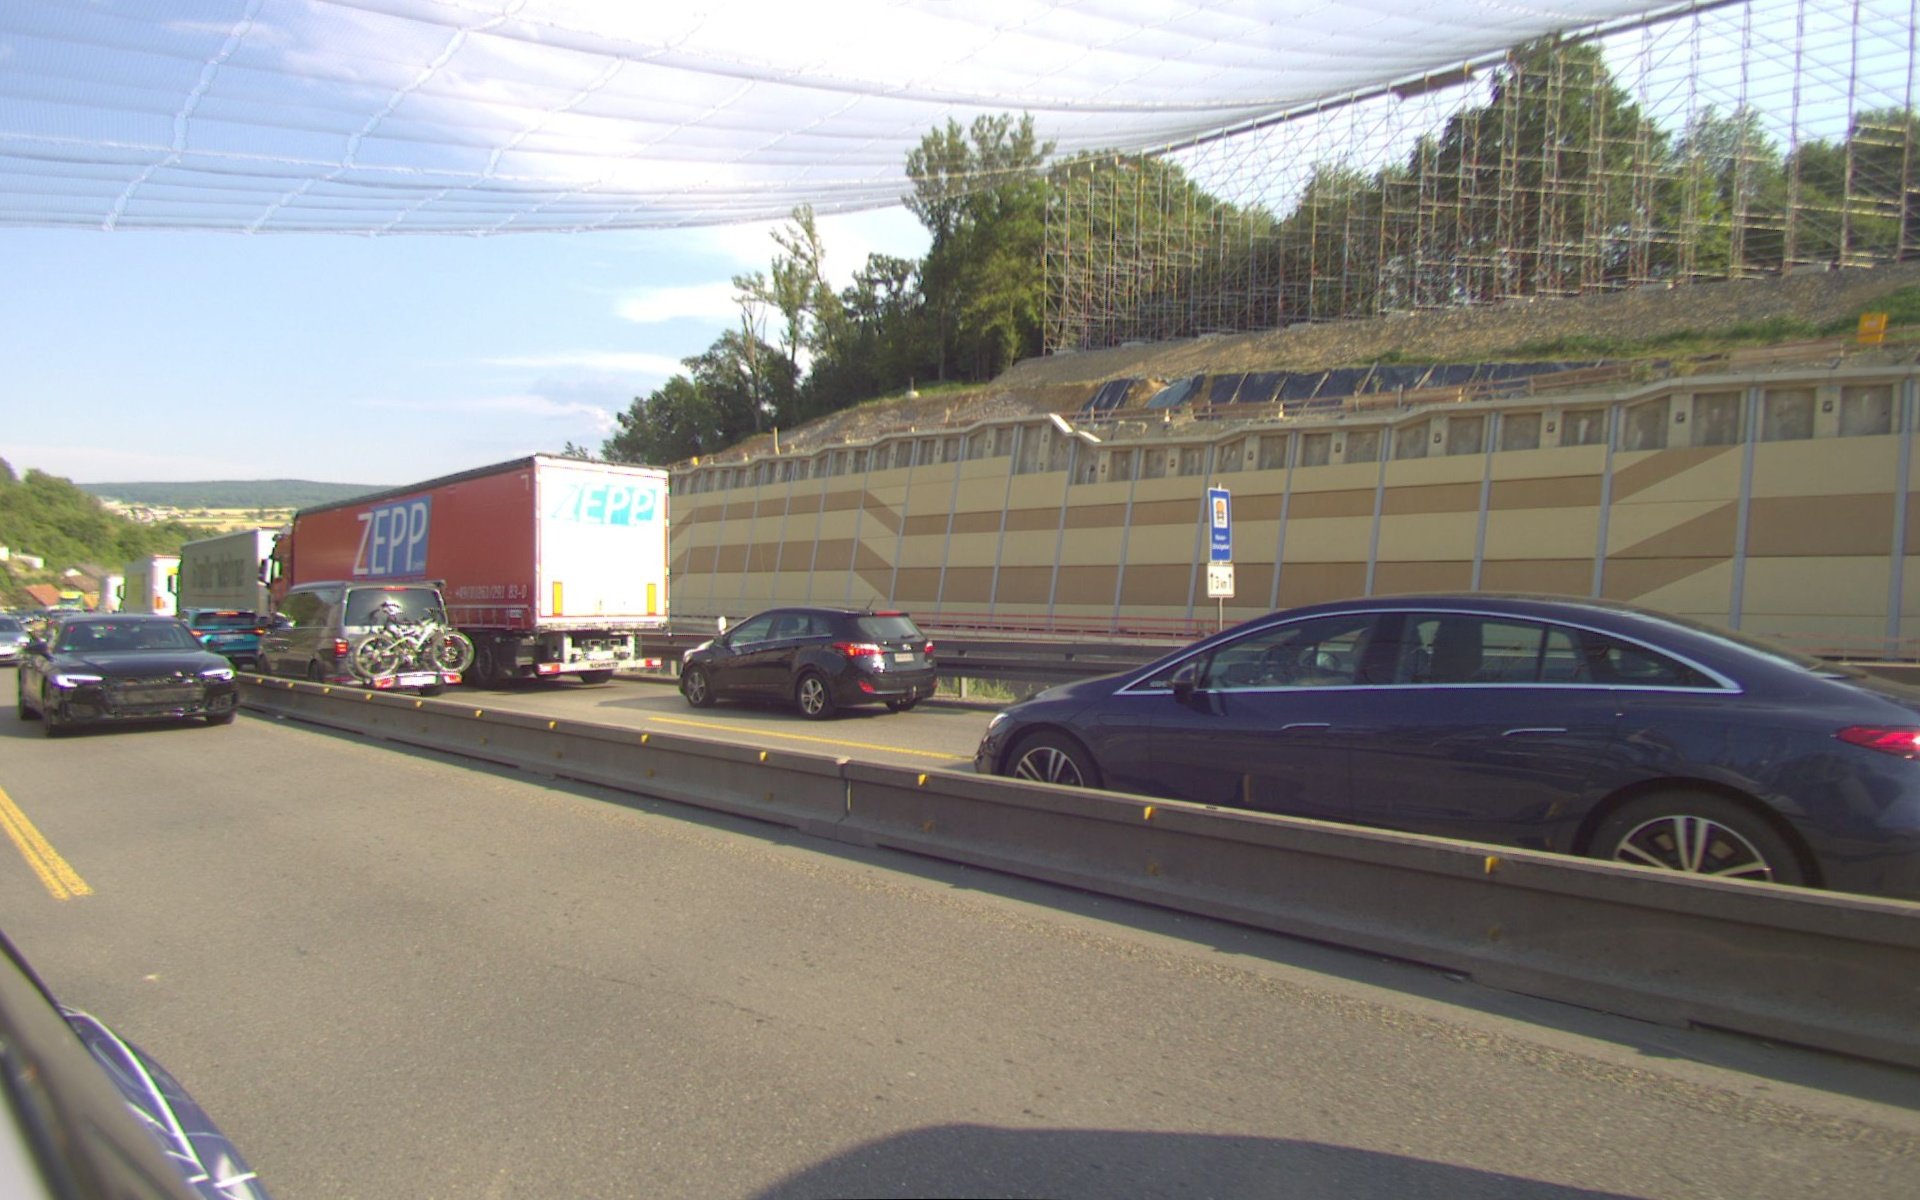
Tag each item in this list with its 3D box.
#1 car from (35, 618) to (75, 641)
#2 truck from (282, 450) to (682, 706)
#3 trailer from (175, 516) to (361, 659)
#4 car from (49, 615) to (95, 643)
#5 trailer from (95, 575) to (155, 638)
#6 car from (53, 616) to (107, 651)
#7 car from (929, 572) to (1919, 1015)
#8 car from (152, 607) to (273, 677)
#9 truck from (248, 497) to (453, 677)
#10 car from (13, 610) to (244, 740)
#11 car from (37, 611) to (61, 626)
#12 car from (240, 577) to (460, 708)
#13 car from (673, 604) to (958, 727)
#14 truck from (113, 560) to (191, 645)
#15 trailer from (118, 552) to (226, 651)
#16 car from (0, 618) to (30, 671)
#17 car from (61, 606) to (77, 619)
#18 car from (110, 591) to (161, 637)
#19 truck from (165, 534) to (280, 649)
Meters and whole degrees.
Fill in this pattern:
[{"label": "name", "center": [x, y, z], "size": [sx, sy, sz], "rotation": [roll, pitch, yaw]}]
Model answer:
[{"label": "car", "center": [-59.391, 1.899, 66.413], "size": [1.711, 1.388, 4.894], "rotation": [-2, 1, -44]}, {"label": "truck", "center": [-11.164, -0.320, 22.172], "size": [13.803, 4.172, 2.758], "rotation": [0, -1, 42]}, {"label": "trailer", "center": [-24.563, -0.321, 35.392], "size": [13.973, 4.172, 2.767], "rotation": [0, -1, 45]}, {"label": "car", "center": [-50.320, 1.625, 57.299], "size": [1.712, 1.450, 4.841], "rotation": [-1, 0, -44]}, {"label": "trailer", "center": [-61.513, 0.459, 74.401], "size": [2.688, 4.250, 13.764], "rotation": [0, -1, -43]}, {"label": "car", "center": [-39.789, 1.476, 45.745], "size": [1.631, 1.475, 4.404], "rotation": [-1, 0, -44]}, {"label": "car", "center": [2.175, 0.677, 5.577], "size": [4.751, 1.514, 1.766], "rotation": [-1, 0, 41]}, {"label": "car", "center": [-18.464, 0.977, 24.922], "size": [4.269, 1.546, 1.723], "rotation": [-1, 0, 44]}, {"label": "truck", "center": [-16.157, -0.275, 26.627], "size": [6.677, 4.172, 2.758], "rotation": [0, -1, 42]}, {"label": "car", "center": [-10.970, 0.856, 13.254], "size": [4.001, 1.409, 1.842], "rotation": [0, -1, 44]}, {"label": "car", "center": [-102.858, 2.140, 114.318], "size": [1.794, 1.591, 4.763], "rotation": [3, -3, -40]}, {"label": "car", "center": [-10.608, 0.690, 17.439], "size": [4.860, 1.950, 1.855], "rotation": [-1, -2, 42]}, {"label": "car", "center": [-2.139, 0.825, 14.250], "size": [4.136, 1.458, 1.703], "rotation": [-1, 0, 41]}, {"label": "truck", "center": [-44.019, 0.142, 55.076], "size": [2.713, 4.332, 5.938], "rotation": [0, -1, -44]}, {"label": "trailer", "center": [-39.454, 0.096, 50.399], "size": [2.734, 4.366, 13.891], "rotation": [0, -1, -44]}, {"label": "car", "center": [-27.241, 1.241, 28.180], "size": [4.000, 1.409, 1.676], "rotation": [-2, 0, 43]}, {"label": "car", "center": [-143.923, 2.004, 163.504], "size": [1.794, 2.015, 4.763], "rotation": [3, -3, -40]}, {"label": "car", "center": [-52.523, 0.880, 64.410], "size": [1.998, 2.710, 6.955], "rotation": [-1, 0, -44]}, {"label": "truck", "center": [-29.229, -0.289, 40.027], "size": [5.936, 4.172, 2.756], "rotation": [-1, -1, 45]}]
